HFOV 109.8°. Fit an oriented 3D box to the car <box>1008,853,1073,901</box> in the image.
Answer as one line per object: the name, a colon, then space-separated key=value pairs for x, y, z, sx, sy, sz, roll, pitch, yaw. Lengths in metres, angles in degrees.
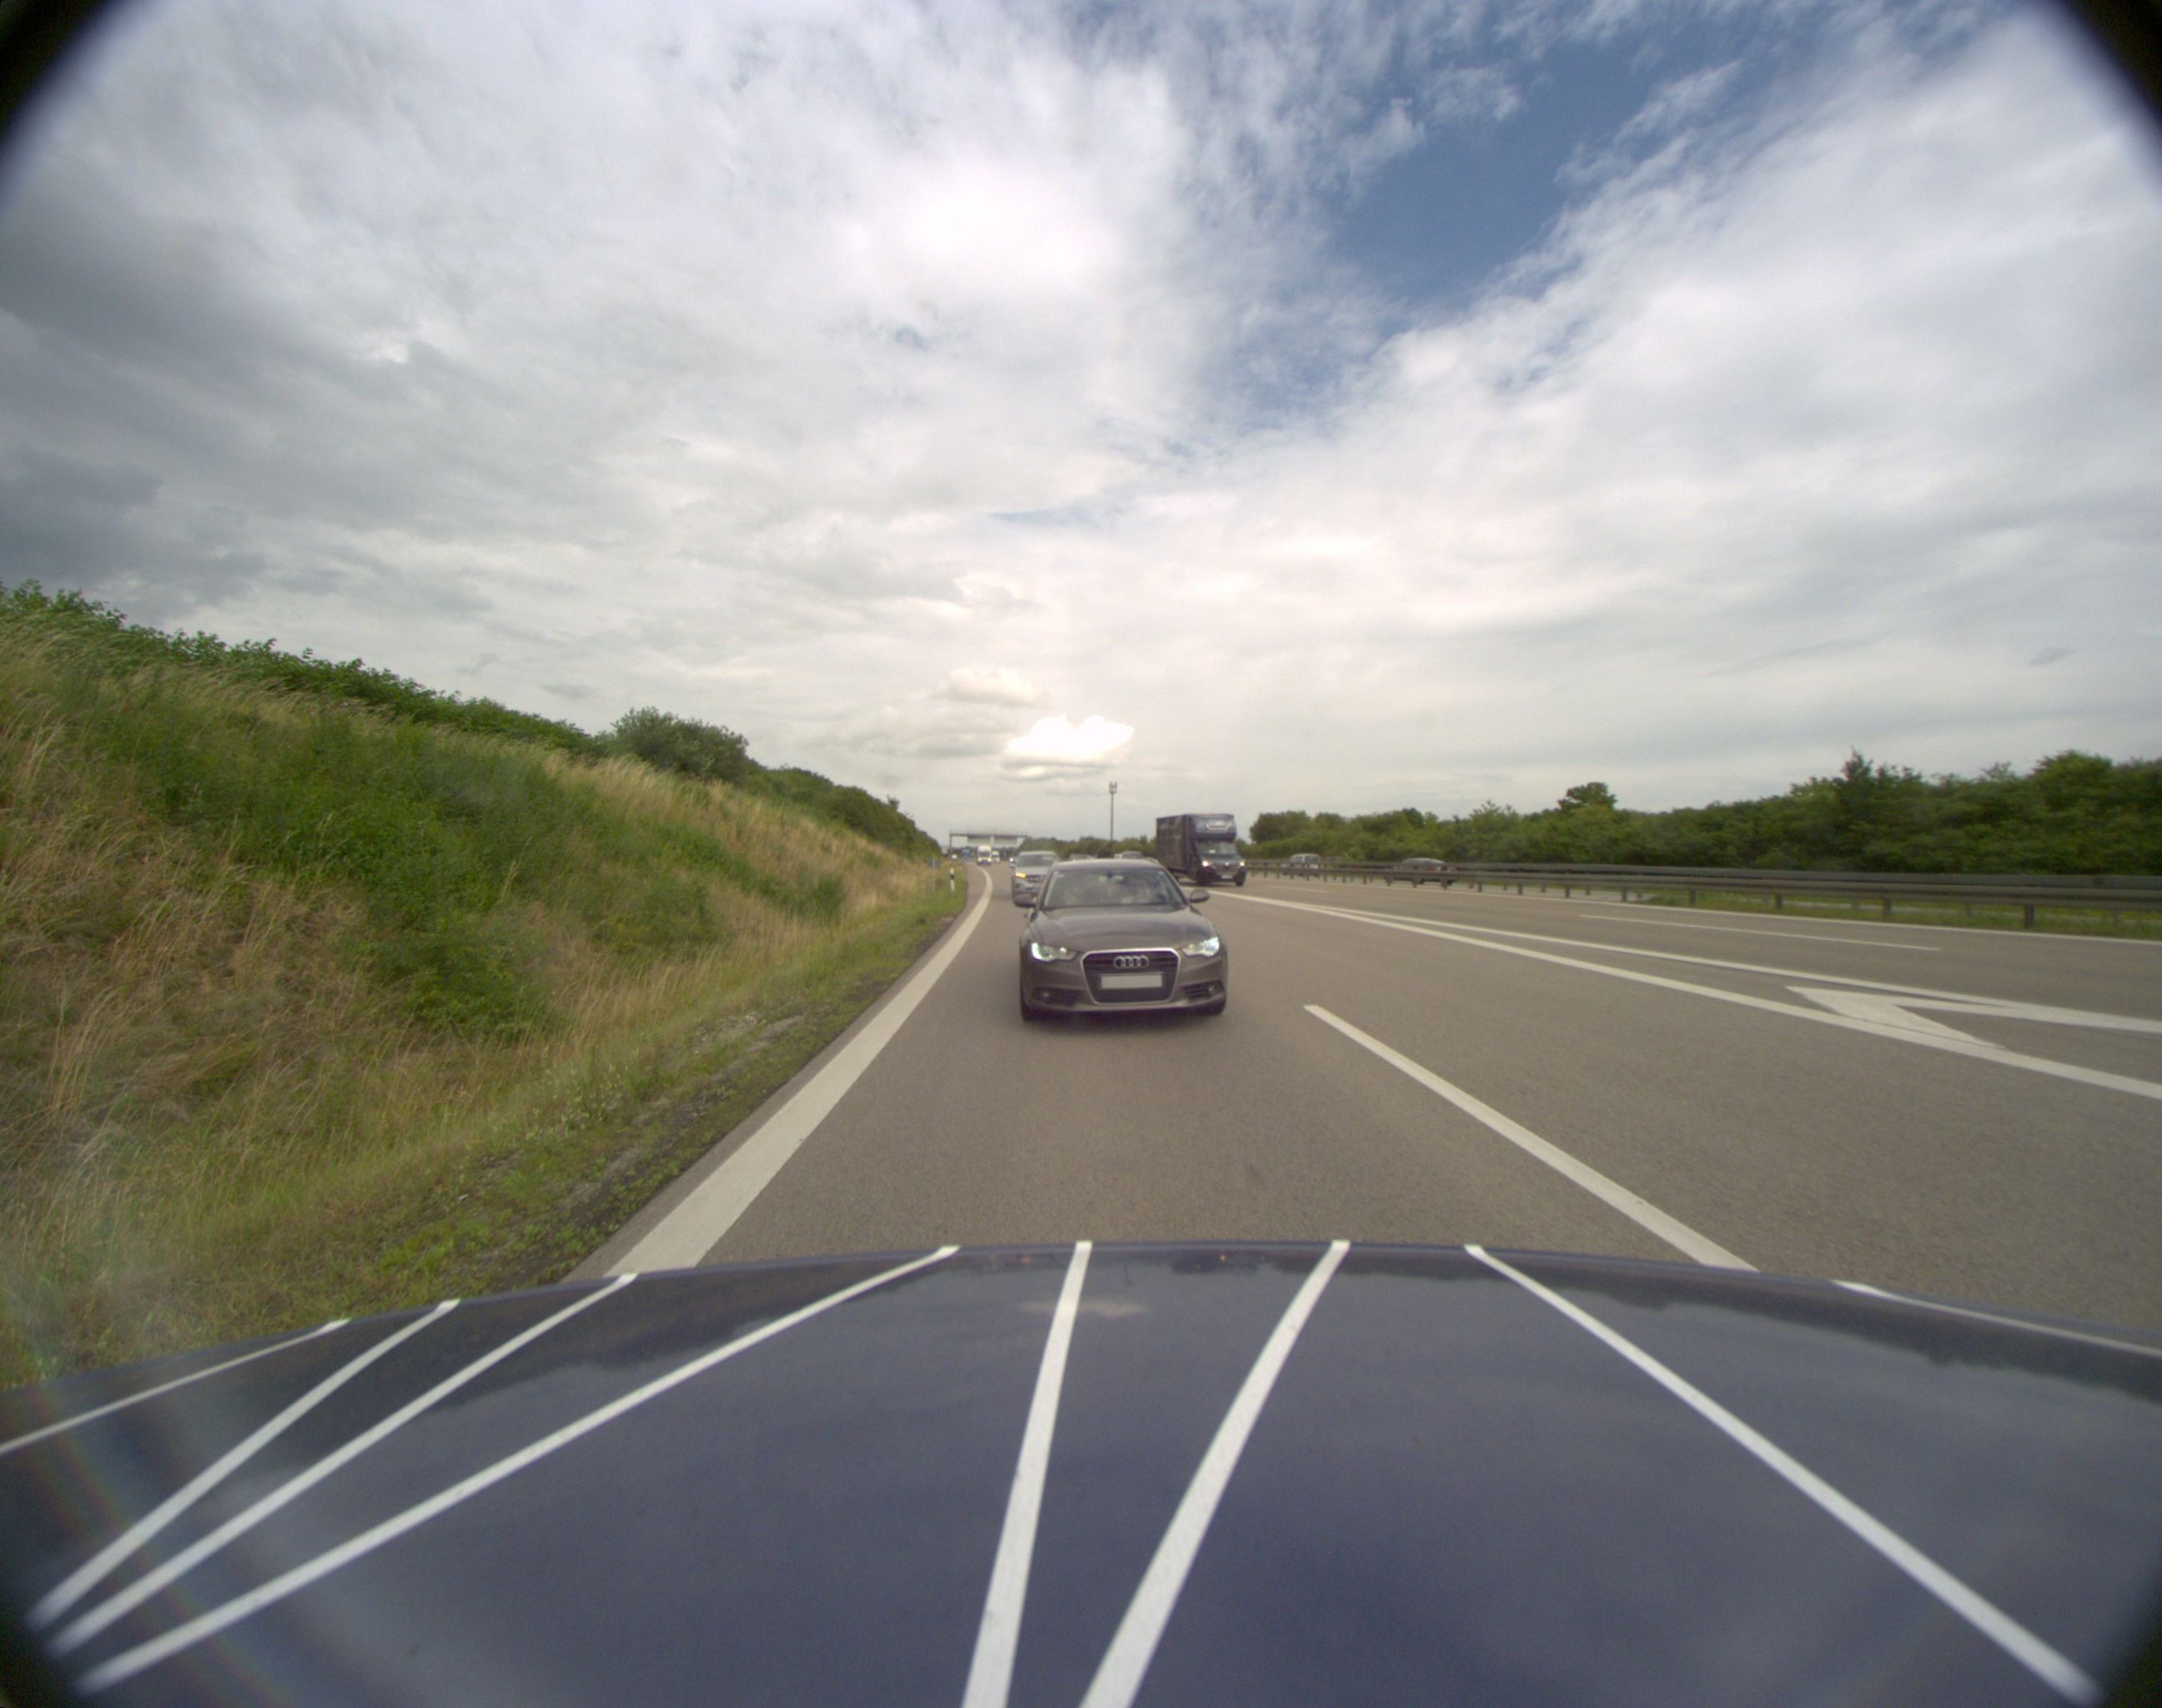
car: x=-1.508 y=0.739 z=26.928 sx=2.000 sy=1.567 sz=3.997 roll=-1 pitch=0 yaw=-7

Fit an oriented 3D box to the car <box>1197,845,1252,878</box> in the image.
car: x=8.169 y=0.425 z=43.583 sx=2.000 sy=1.799 sz=3.997 roll=0 pitch=0 yaw=-7

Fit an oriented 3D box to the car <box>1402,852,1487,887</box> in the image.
car: x=18.522 y=0.738 z=38.950 sx=2.000 sy=1.674 sz=3.996 roll=-1 pitch=0 yaw=-10

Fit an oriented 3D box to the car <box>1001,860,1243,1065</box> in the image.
car: x=0.307 y=0.861 z=7.922 sx=1.849 sy=1.489 sz=4.028 roll=-1 pitch=0 yaw=0

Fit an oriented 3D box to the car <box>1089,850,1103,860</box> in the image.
car: x=3.171 y=0.258 z=162.171 sx=2.169 sy=2.120 sz=4.870 roll=-1 pitch=0 yaw=-8

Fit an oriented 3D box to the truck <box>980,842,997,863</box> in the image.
truck: x=-14.715 y=-0.234 z=120.273 sx=2.450 sy=3.216 sz=7.186 roll=-1 pitch=0 yaw=-8

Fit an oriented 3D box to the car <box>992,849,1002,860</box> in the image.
car: x=-18.330 y=0.076 z=166.275 sx=1.999 sy=2.381 sz=3.997 roll=-2 pitch=1 yaw=-6

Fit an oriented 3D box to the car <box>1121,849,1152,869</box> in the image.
car: x=4.883 y=0.428 z=67.791 sx=1.851 sy=1.748 sz=4.333 roll=-1 pitch=0 yaw=-8

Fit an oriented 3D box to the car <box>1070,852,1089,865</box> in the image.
car: x=-0.288 y=0.579 z=103.711 sx=2.000 sy=1.733 sz=4.825 roll=0 pitch=0 yaw=-8

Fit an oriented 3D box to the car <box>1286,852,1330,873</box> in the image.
car: x=18.639 y=0.638 z=62.516 sx=2.000 sy=1.641 sz=3.997 roll=-1 pitch=0 yaw=-8

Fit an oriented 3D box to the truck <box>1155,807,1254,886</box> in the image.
truck: x=5.702 y=-0.287 z=36.511 sx=2.475 sy=3.351 sz=7.919 roll=-1 pitch=-1 yaw=-7

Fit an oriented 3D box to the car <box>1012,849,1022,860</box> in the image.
car: x=-13.332 y=0.091 z=158.859 sx=1.999 sy=2.002 sz=3.998 roll=-2 pitch=1 yaw=-4
